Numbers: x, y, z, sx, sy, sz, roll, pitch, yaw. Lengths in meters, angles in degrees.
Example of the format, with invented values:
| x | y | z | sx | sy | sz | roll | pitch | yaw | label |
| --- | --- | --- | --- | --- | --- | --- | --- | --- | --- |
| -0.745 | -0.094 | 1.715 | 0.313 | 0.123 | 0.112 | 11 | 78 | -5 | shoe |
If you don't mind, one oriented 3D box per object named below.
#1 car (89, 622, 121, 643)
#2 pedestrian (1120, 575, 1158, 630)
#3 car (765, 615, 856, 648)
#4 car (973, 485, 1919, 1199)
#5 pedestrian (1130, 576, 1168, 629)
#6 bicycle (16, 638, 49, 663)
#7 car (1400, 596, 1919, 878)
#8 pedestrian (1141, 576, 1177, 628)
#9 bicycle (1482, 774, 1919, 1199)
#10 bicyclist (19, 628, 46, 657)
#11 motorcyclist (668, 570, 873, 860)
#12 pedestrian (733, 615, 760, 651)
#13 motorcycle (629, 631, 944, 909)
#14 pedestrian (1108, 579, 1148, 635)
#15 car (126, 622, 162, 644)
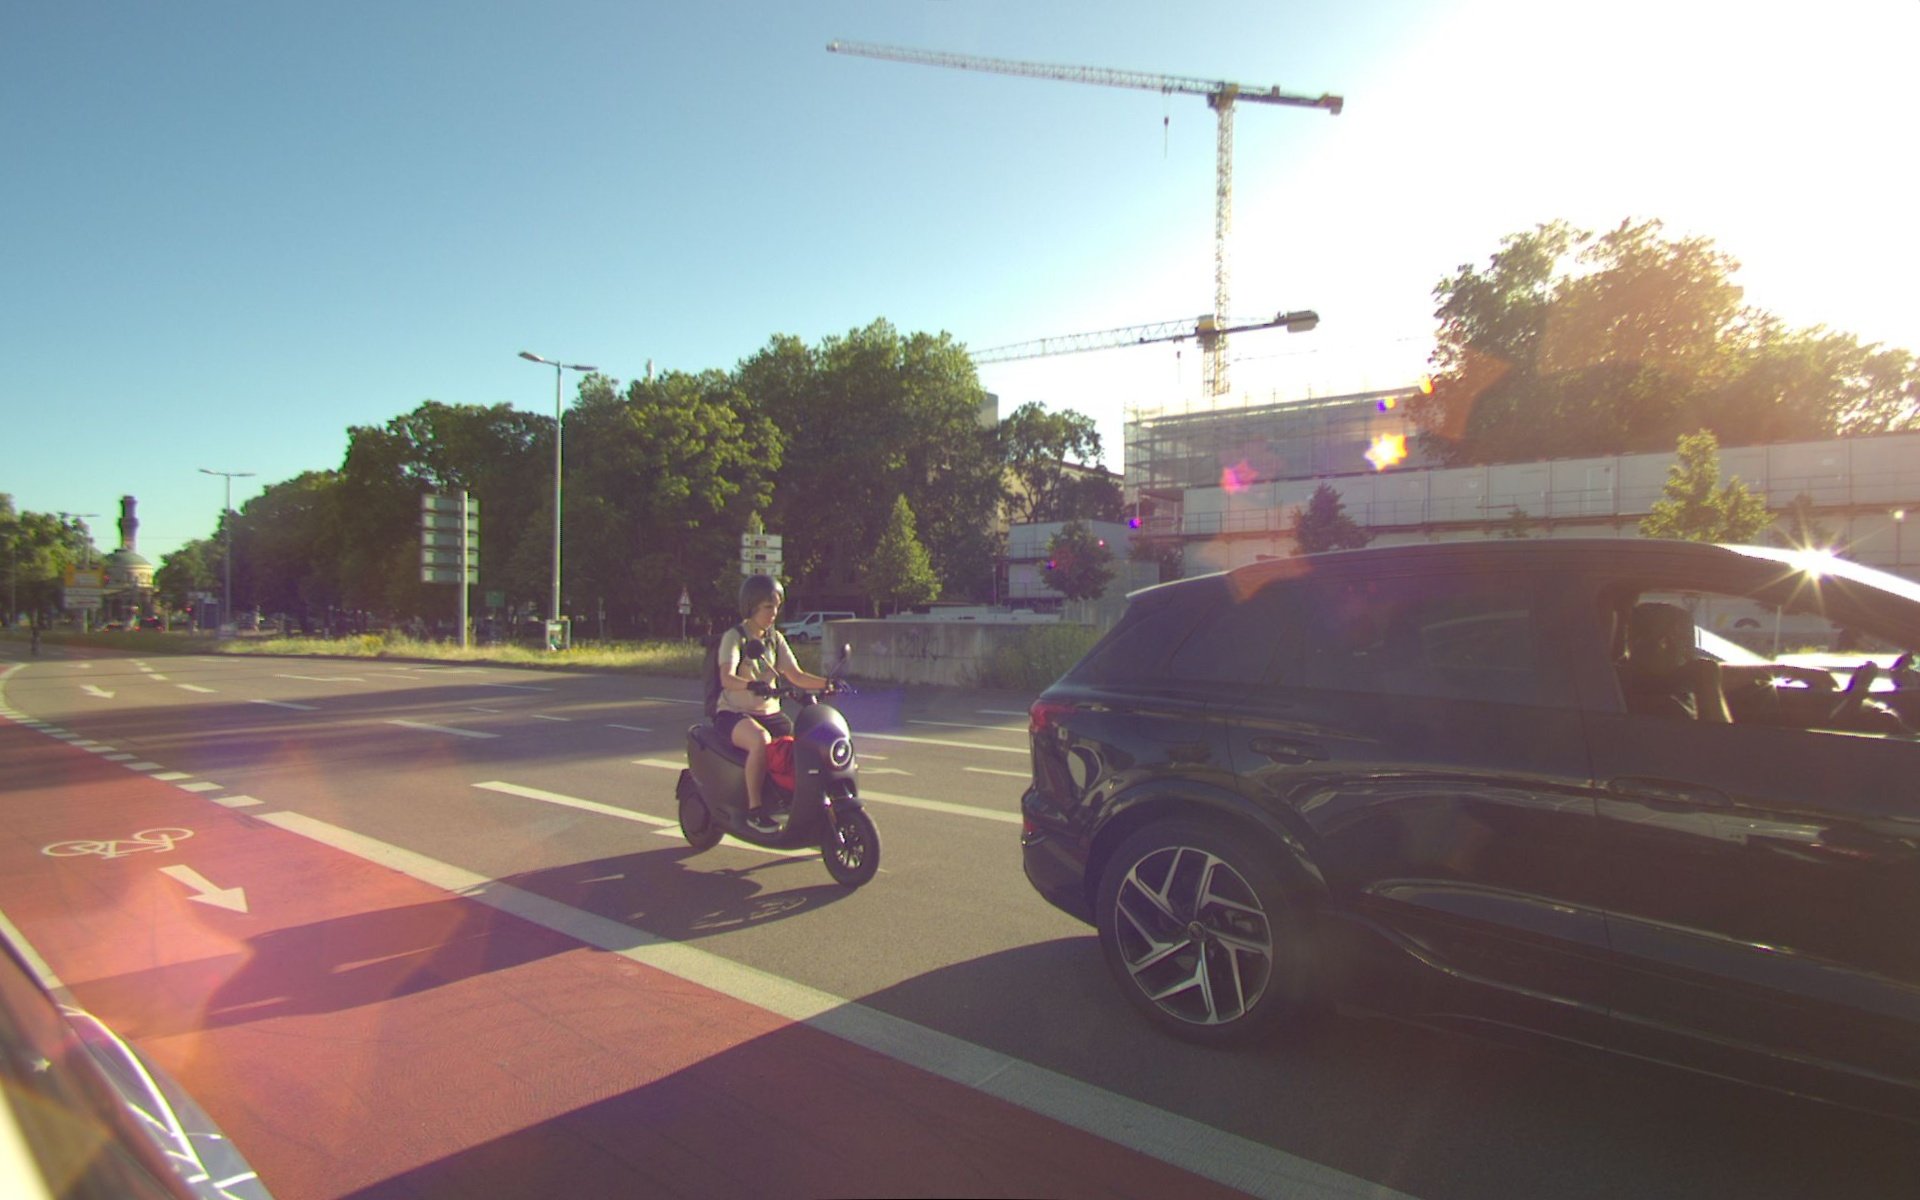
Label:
| x | y | z | sx | sy | sz | roll | pitch | yaw | label |
| --- | --- | --- | --- | --- | --- | --- | --- | --- | --- |
| -79.877 | 3.017 | 94.524 | 3.945 | 1.802 | 1.725 | -1 | 0 | 41 | car |
| 6.765 | 0.098 | 38.248 | 1.135 | 2.029 | 0.930 | -1 | 0 | 35 | pedestrian |
| -9.067 | 1.918 | 61.840 | 2.065 | 1.950 | 5.443 | -1 | -2 | 42 | car |
| 2.413 | 0.574 | 3.022 | 4.677 | 1.647 | 1.753 | -1 | 0 | 40 | car |
| 7.303 | 0.091 | 39.037 | 1.135 | 2.029 | 0.930 | -1 | 0 | 35 | pedestrian |
| -44.035 | 2.370 | 48.040 | 2.806 | 1.124 | 0.843 | -2 | -1 | 41 | bicycle |
| 4.971 | 0.752 | 6.542 | 3.603 | 1.497 | 1.477 | -2 | -1 | 41 | car |
| 7.829 | 0.084 | 39.810 | 1.135 | 2.029 | 0.930 | -1 | 0 | 35 | pedestrian |
| 1.247 | 0.792 | 0.311 | 1.829 | 1.227 | 0.610 | -2 | -1 | 39 | bicycle |
| -44.047 | 2.019 | 48.067 | 0.829 | 1.358 | 0.843 | -2 | -1 | 41 | bicyclist |
| -1.082 | 0.593 | 5.766 | 0.917 | 1.485 | 0.717 | -2 | -1 | 41 | motorcyclist |
| -11.164 | 1.722 | 52.914 | 1.018 | 1.845 | 0.977 | -1 | 0 | 37 | pedestrian |
| -1.036 | 0.839 | 5.725 | 1.883 | 1.303 | 0.715 | -2 | -1 | 41 | motorcycle |
| 6.213 | 0.268 | 37.463 | 1.135 | 2.029 | 0.930 | -1 | 0 | 35 | pedestrian |
| -71.443 | 2.835 | 88.601 | 3.998 | 1.841 | 1.796 | -1 | 0 | 41 | car |
